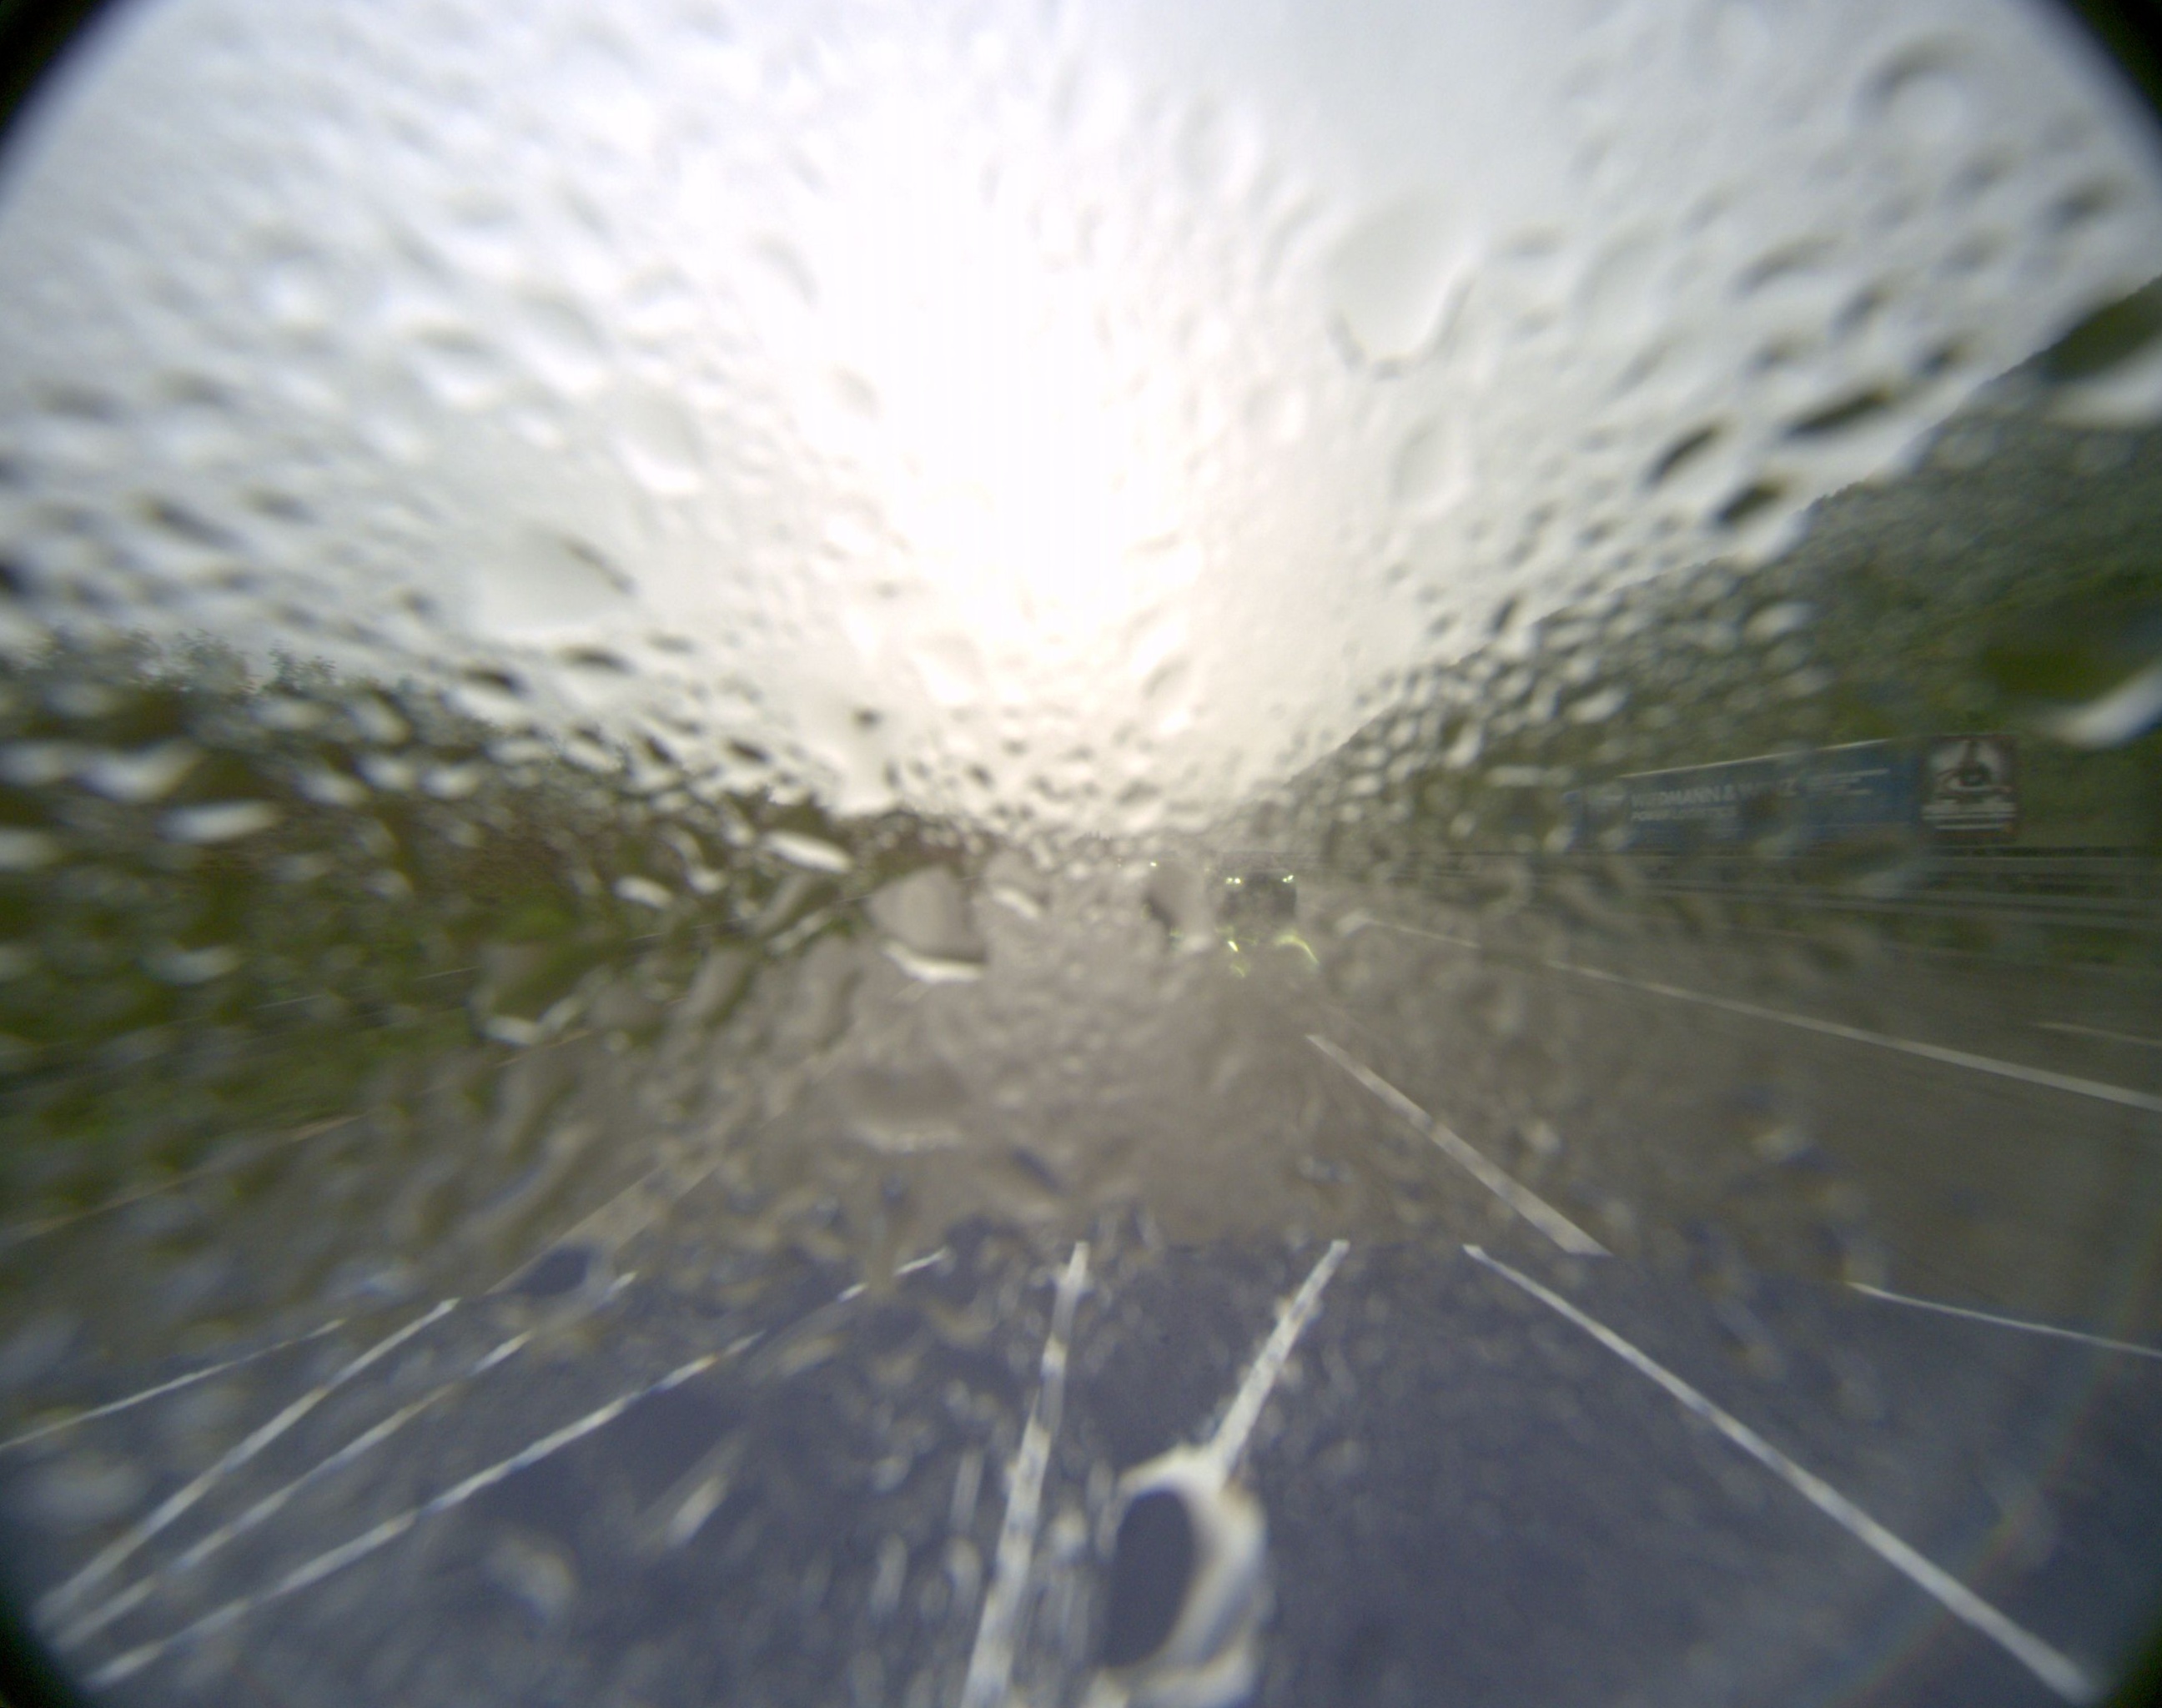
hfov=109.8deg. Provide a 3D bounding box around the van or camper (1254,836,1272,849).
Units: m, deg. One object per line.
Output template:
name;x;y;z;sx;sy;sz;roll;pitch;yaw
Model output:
van or camper;37.458;-2.401;156.599;2.349;2.549;7.207;-3;0;5

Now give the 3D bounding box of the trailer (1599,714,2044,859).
trailer;23.784;-1.810;26.397;2.820;3.660;13.246;-2;0;2

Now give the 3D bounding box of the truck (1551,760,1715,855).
truck;24.009;-1.877;33.529;2.787;3.662;6.207;-2;1;2

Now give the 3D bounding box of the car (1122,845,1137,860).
car;6.877;-0.235;108.259;1.835;2.002;3.939;-4;1;6

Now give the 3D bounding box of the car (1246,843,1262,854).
car;29.187;-0.945;128.163;1.998;1.849;4.001;-2;0;4

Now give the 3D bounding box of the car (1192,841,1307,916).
car;4.423;0.554;20.811;1.998;1.673;4.908;-4;1;0

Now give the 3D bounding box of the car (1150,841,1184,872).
car;5.216;0.135;46.484;1.814;1.692;3.749;-3;1;5
